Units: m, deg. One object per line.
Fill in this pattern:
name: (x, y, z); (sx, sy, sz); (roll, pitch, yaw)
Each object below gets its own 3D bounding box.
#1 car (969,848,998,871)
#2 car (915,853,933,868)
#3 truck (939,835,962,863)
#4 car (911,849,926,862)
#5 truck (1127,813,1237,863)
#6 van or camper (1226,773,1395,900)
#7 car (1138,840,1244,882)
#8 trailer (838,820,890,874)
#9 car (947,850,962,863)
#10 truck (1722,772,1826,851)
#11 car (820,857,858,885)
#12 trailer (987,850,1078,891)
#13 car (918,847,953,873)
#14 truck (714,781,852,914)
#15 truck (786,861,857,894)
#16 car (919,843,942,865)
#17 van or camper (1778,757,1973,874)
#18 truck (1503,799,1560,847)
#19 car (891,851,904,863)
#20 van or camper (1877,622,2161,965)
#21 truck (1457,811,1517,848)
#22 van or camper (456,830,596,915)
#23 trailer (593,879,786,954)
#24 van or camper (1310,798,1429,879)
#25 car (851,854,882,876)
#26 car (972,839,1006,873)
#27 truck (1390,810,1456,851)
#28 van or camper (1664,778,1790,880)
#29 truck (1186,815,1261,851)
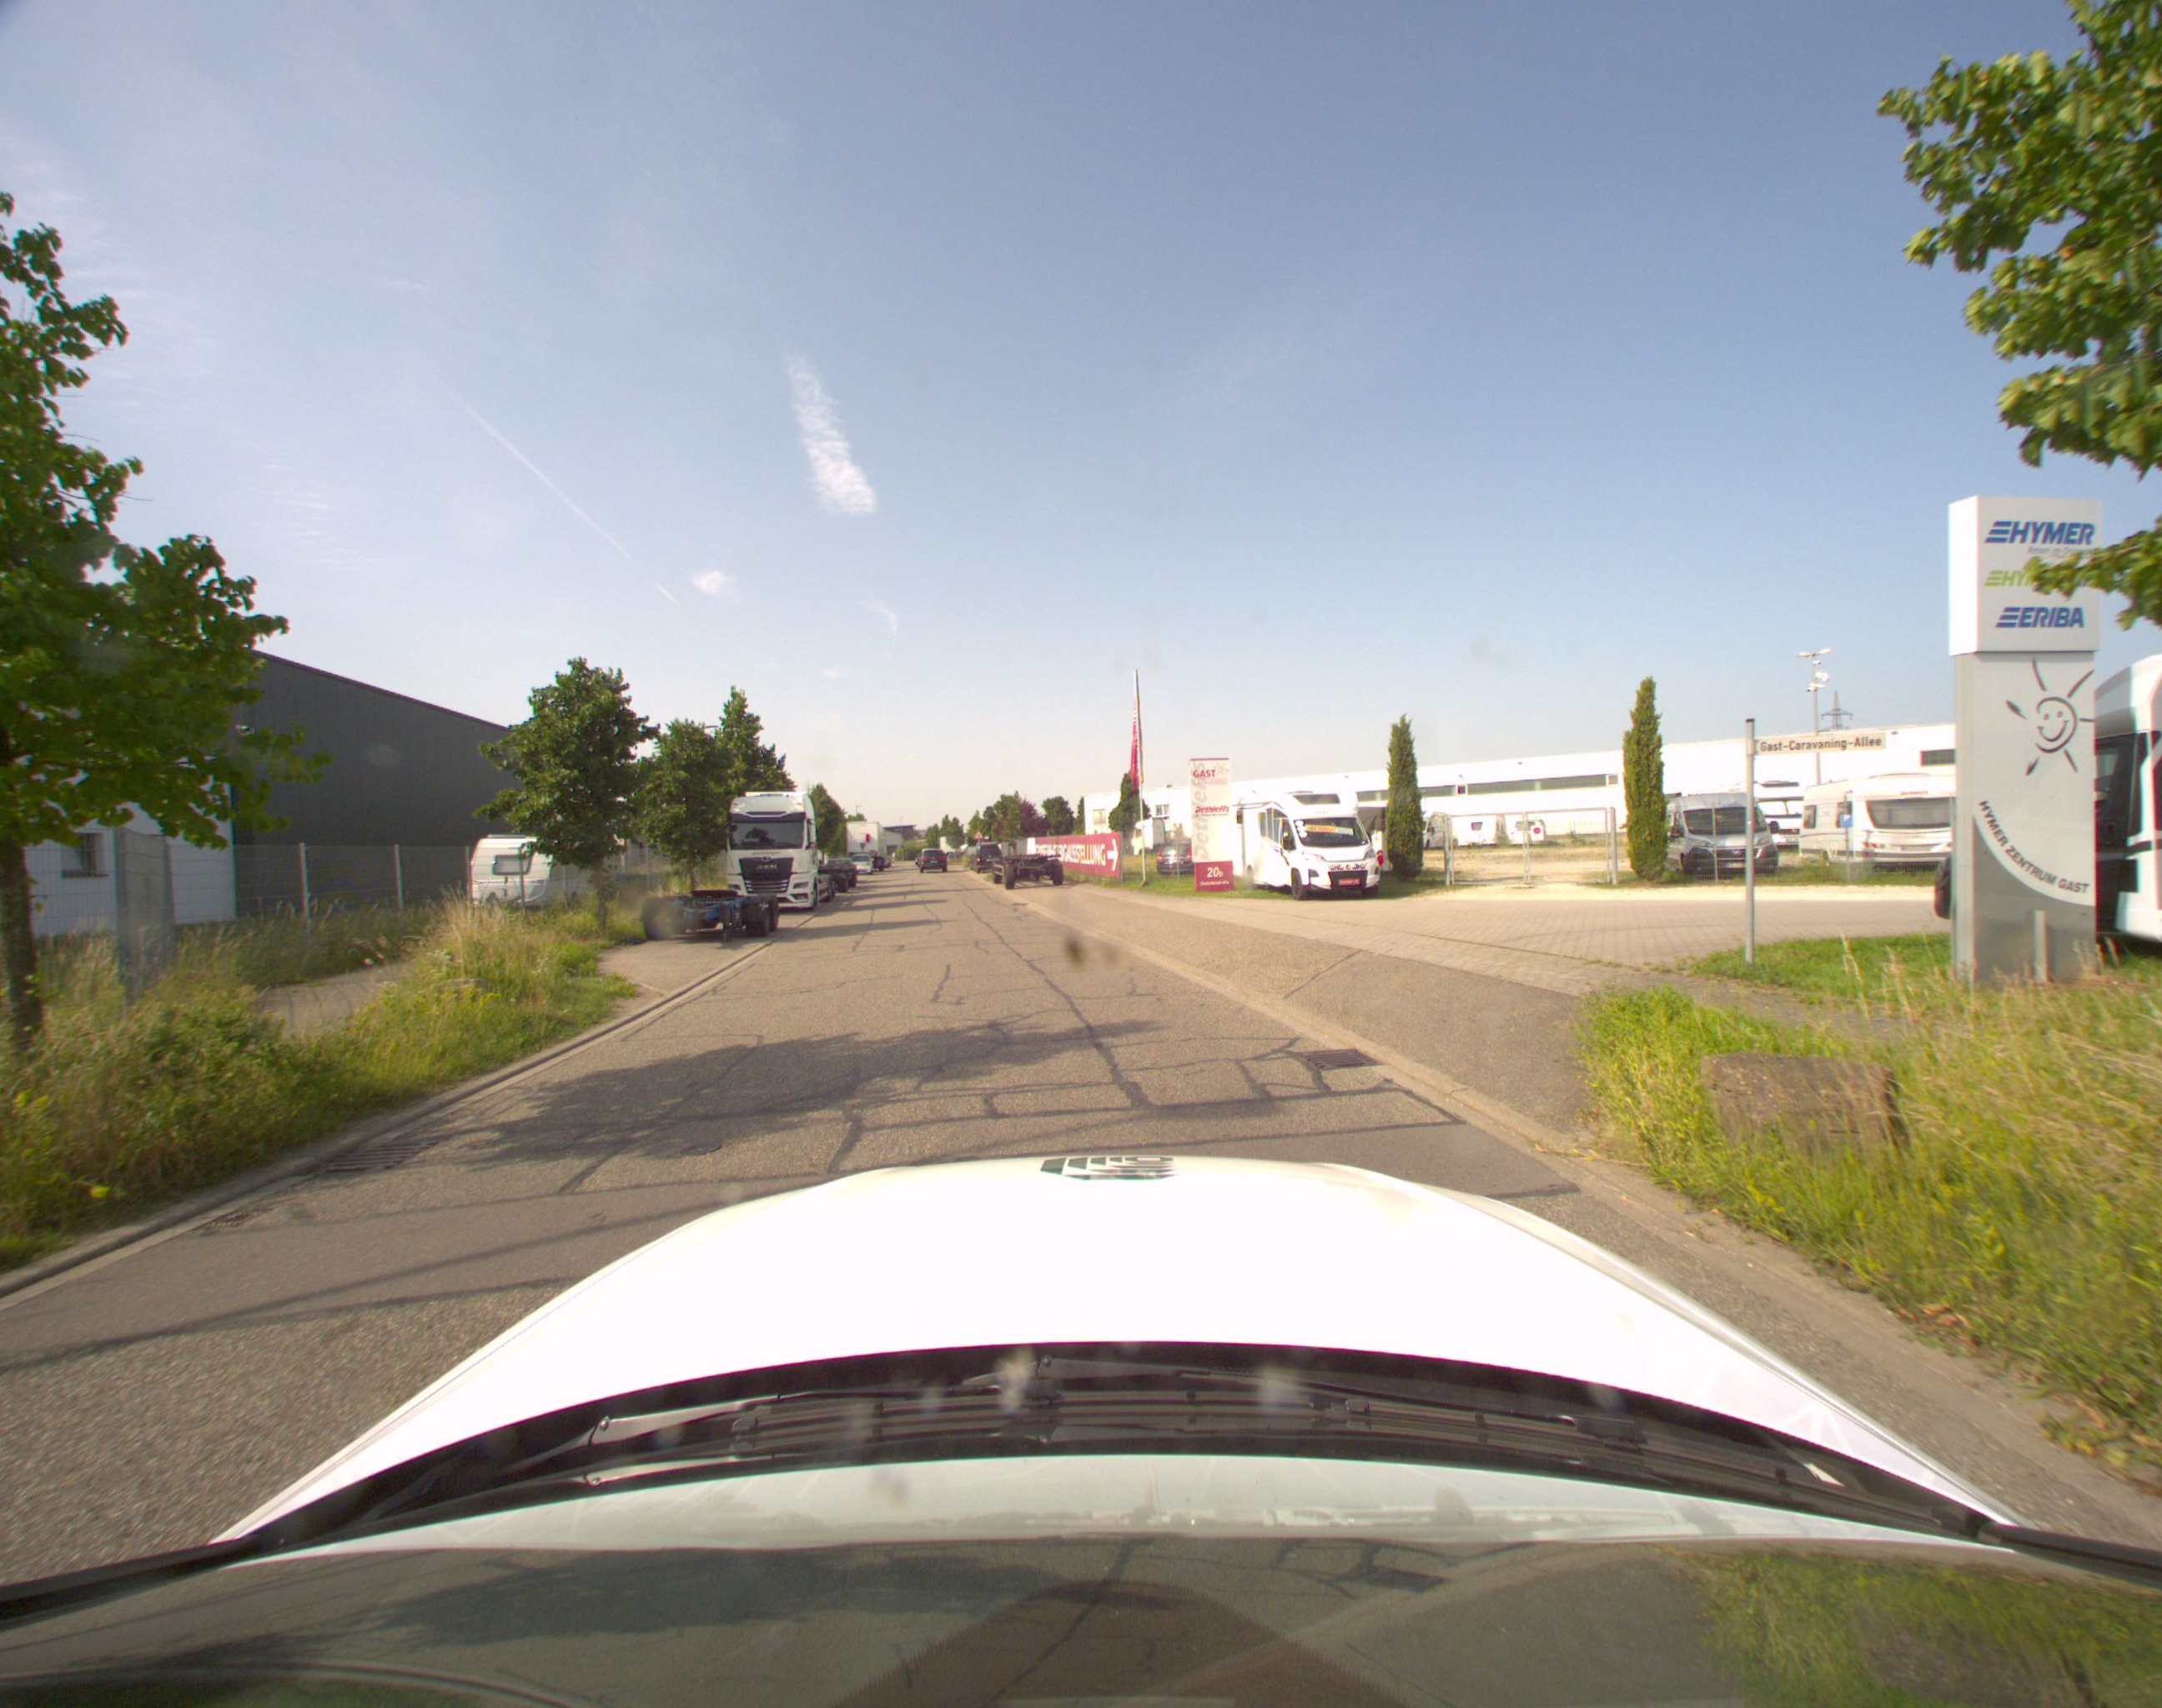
car: (-7.064, 0.353, 58.780); (1.819, 1.449, 3.788); (-5, 2, -10)
car: (-18.366, 0.699, 95.252); (1.995, 1.640, 3.984); (-2, 0, -12)
truck: (-18.292, -0.732, 114.157); (2.887, 3.586, 8.035); (-3, 1, -10)
car: (-22.734, 0.224, 114.115); (1.995, 1.772, 3.984); (-2, 0, -12)
truck: (8.768, -1.342, 71.137); (9.194, 3.972, 2.474); (-1, 1, 31)
van or camper: (6.097, -0.476, 22.857); (2.326, 2.943, 6.962); (-2, 1, -4)
car: (4.509, 0.260, 33.144); (4.022, 1.476, 2.147); (-3, 1, -41)
trailer: (-19.417, -0.626, 73.689); (3.405, 4.340, 13.867); (-2, 1, -11)
car: (-16.102, 0.260, 103.623); (1.818, 1.449, 3.788); (-3, 1, -10)
truck: (28.695, -1.707, 34.012); (2.426, 2.845, 8.054); (-1, 1, 34)
car: (-13.790, 0.935, 46.509); (1.888, 1.436, 3.980); (-2, 1, -15)
trailer: (-2.371, 0.610, 35.982); (2.625, 1.388, 9.417); (-4, 1, -12)
car: (-10.416, 0.410, 58.627); (1.990, 1.804, 3.995); (-1, 1, -4)
truck: (-10.749, -0.225, 30.903); (2.626, 3.928, 12.873); (-2, 0, -10)
truck: (-12.282, 1.053, 39.042); (2.526, 1.265, 6.500); (-2, 1, -12)
car: (-14.385, -0.002, 78.178); (1.993, 1.899, 4.455); (-1, 2, -8)
van or camper: (21.504, -0.967, 22.476); (2.298, 2.705, 6.651); (-2, 0, 31)
truck: (29.366, -1.971, 52.934); (2.426, 2.826, 8.054); (-1, 1, 34)
car: (-29.057, 0.451, 129.082); (1.995, 1.772, 3.984); (-2, 0, -12)
van or camper: (10.083, -0.530, 5.557); (2.339, 2.848, 7.347); (-2, 0, 3)
truck: (27.235, -1.643, 54.426); (2.426, 2.265, 8.054); (-1, 1, 34)
van or camper: (-18.758, 0.575, 27.858); (2.309, 2.560, 4.929); (-2, 0, -15)
trailer: (-8.210, 1.234, 17.791); (2.576, 1.100, 5.180); (-2, 1, -12)
van or camper: (10.579, -0.600, 29.449); (2.459, 2.558, 6.669); (-1, 1, 33)
car: (-15.699, 0.782, 59.762); (1.811, 1.427, 3.986); (-2, 1, -10)
car: (-6.041, 0.091, 53.262); (1.819, 1.978, 3.987); (-5, 2, -10)
truck: (22.832, -1.580, 54.146); (2.426, 2.471, 8.054); (-1, 1, 34)
van or camper: (18.338, -0.704, 23.426); (1.974, 2.534, 6.190); (-2, 1, 31)
truck: (10.959, -1.628, 61.978); (2.426, 2.471, 8.054); (-1, 1, 34)
